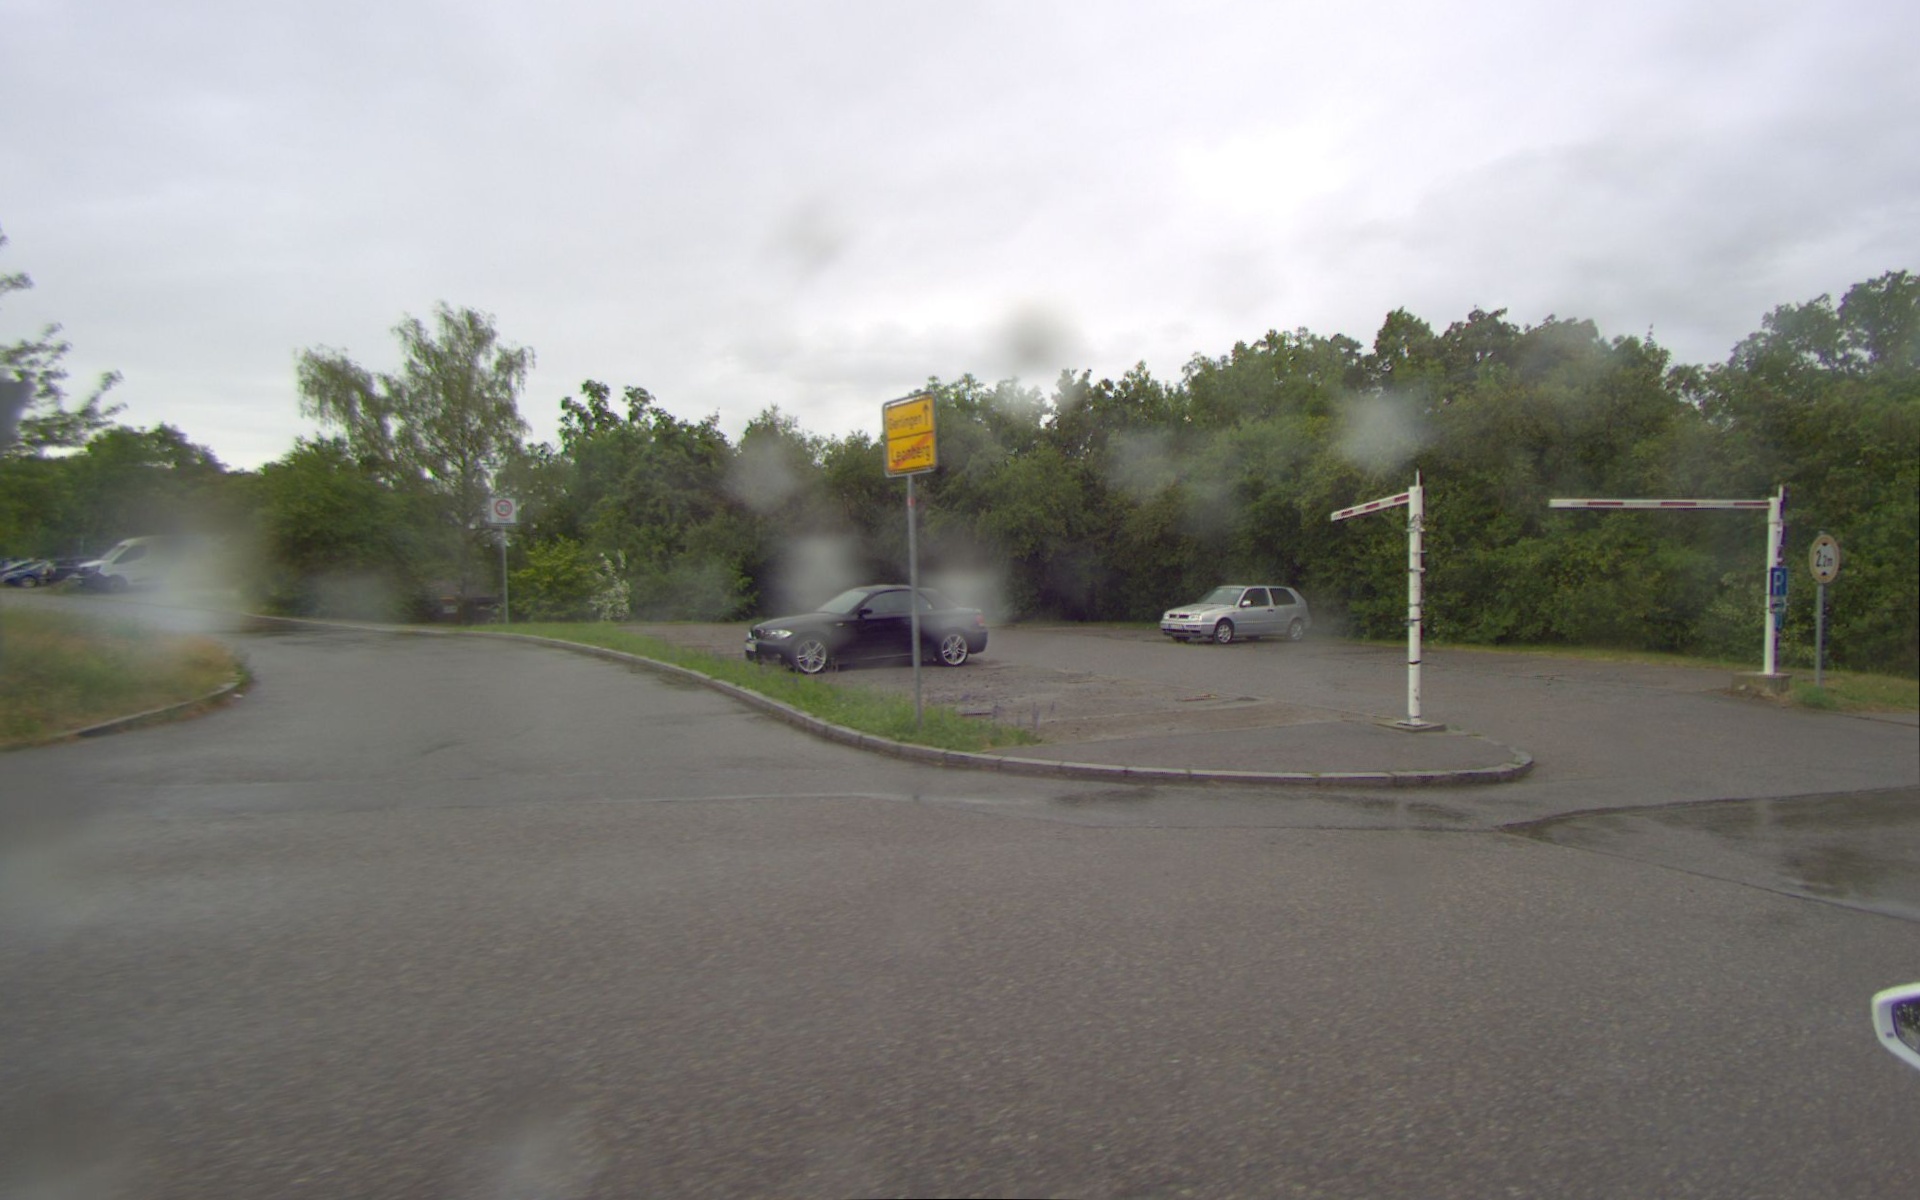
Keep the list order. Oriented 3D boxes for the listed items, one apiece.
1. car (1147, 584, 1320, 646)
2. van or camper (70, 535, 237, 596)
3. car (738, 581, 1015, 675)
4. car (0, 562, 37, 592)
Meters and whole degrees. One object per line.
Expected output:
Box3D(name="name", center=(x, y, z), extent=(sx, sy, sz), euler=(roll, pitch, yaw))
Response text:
Box3D(name="car", center=(6.787, 0.315, 24.849), extent=(4.121, 1.418, 1.684), euler=(0, 2, -29))
Box3D(name="van or camper", center=(-37.155, -1.674, 46.445), extent=(1.968, 2.572, 5.584), euler=(2, 5, 37))
Box3D(name="car", center=(-1.414, 0.398, 17.411), extent=(4.376, 1.434, 1.984), euler=(0, 2, -30))
Box3D(name="car", center=(-62.011, -1.499, 64.287), extent=(1.966, 1.907, 3.988), euler=(1, 2, 34))
